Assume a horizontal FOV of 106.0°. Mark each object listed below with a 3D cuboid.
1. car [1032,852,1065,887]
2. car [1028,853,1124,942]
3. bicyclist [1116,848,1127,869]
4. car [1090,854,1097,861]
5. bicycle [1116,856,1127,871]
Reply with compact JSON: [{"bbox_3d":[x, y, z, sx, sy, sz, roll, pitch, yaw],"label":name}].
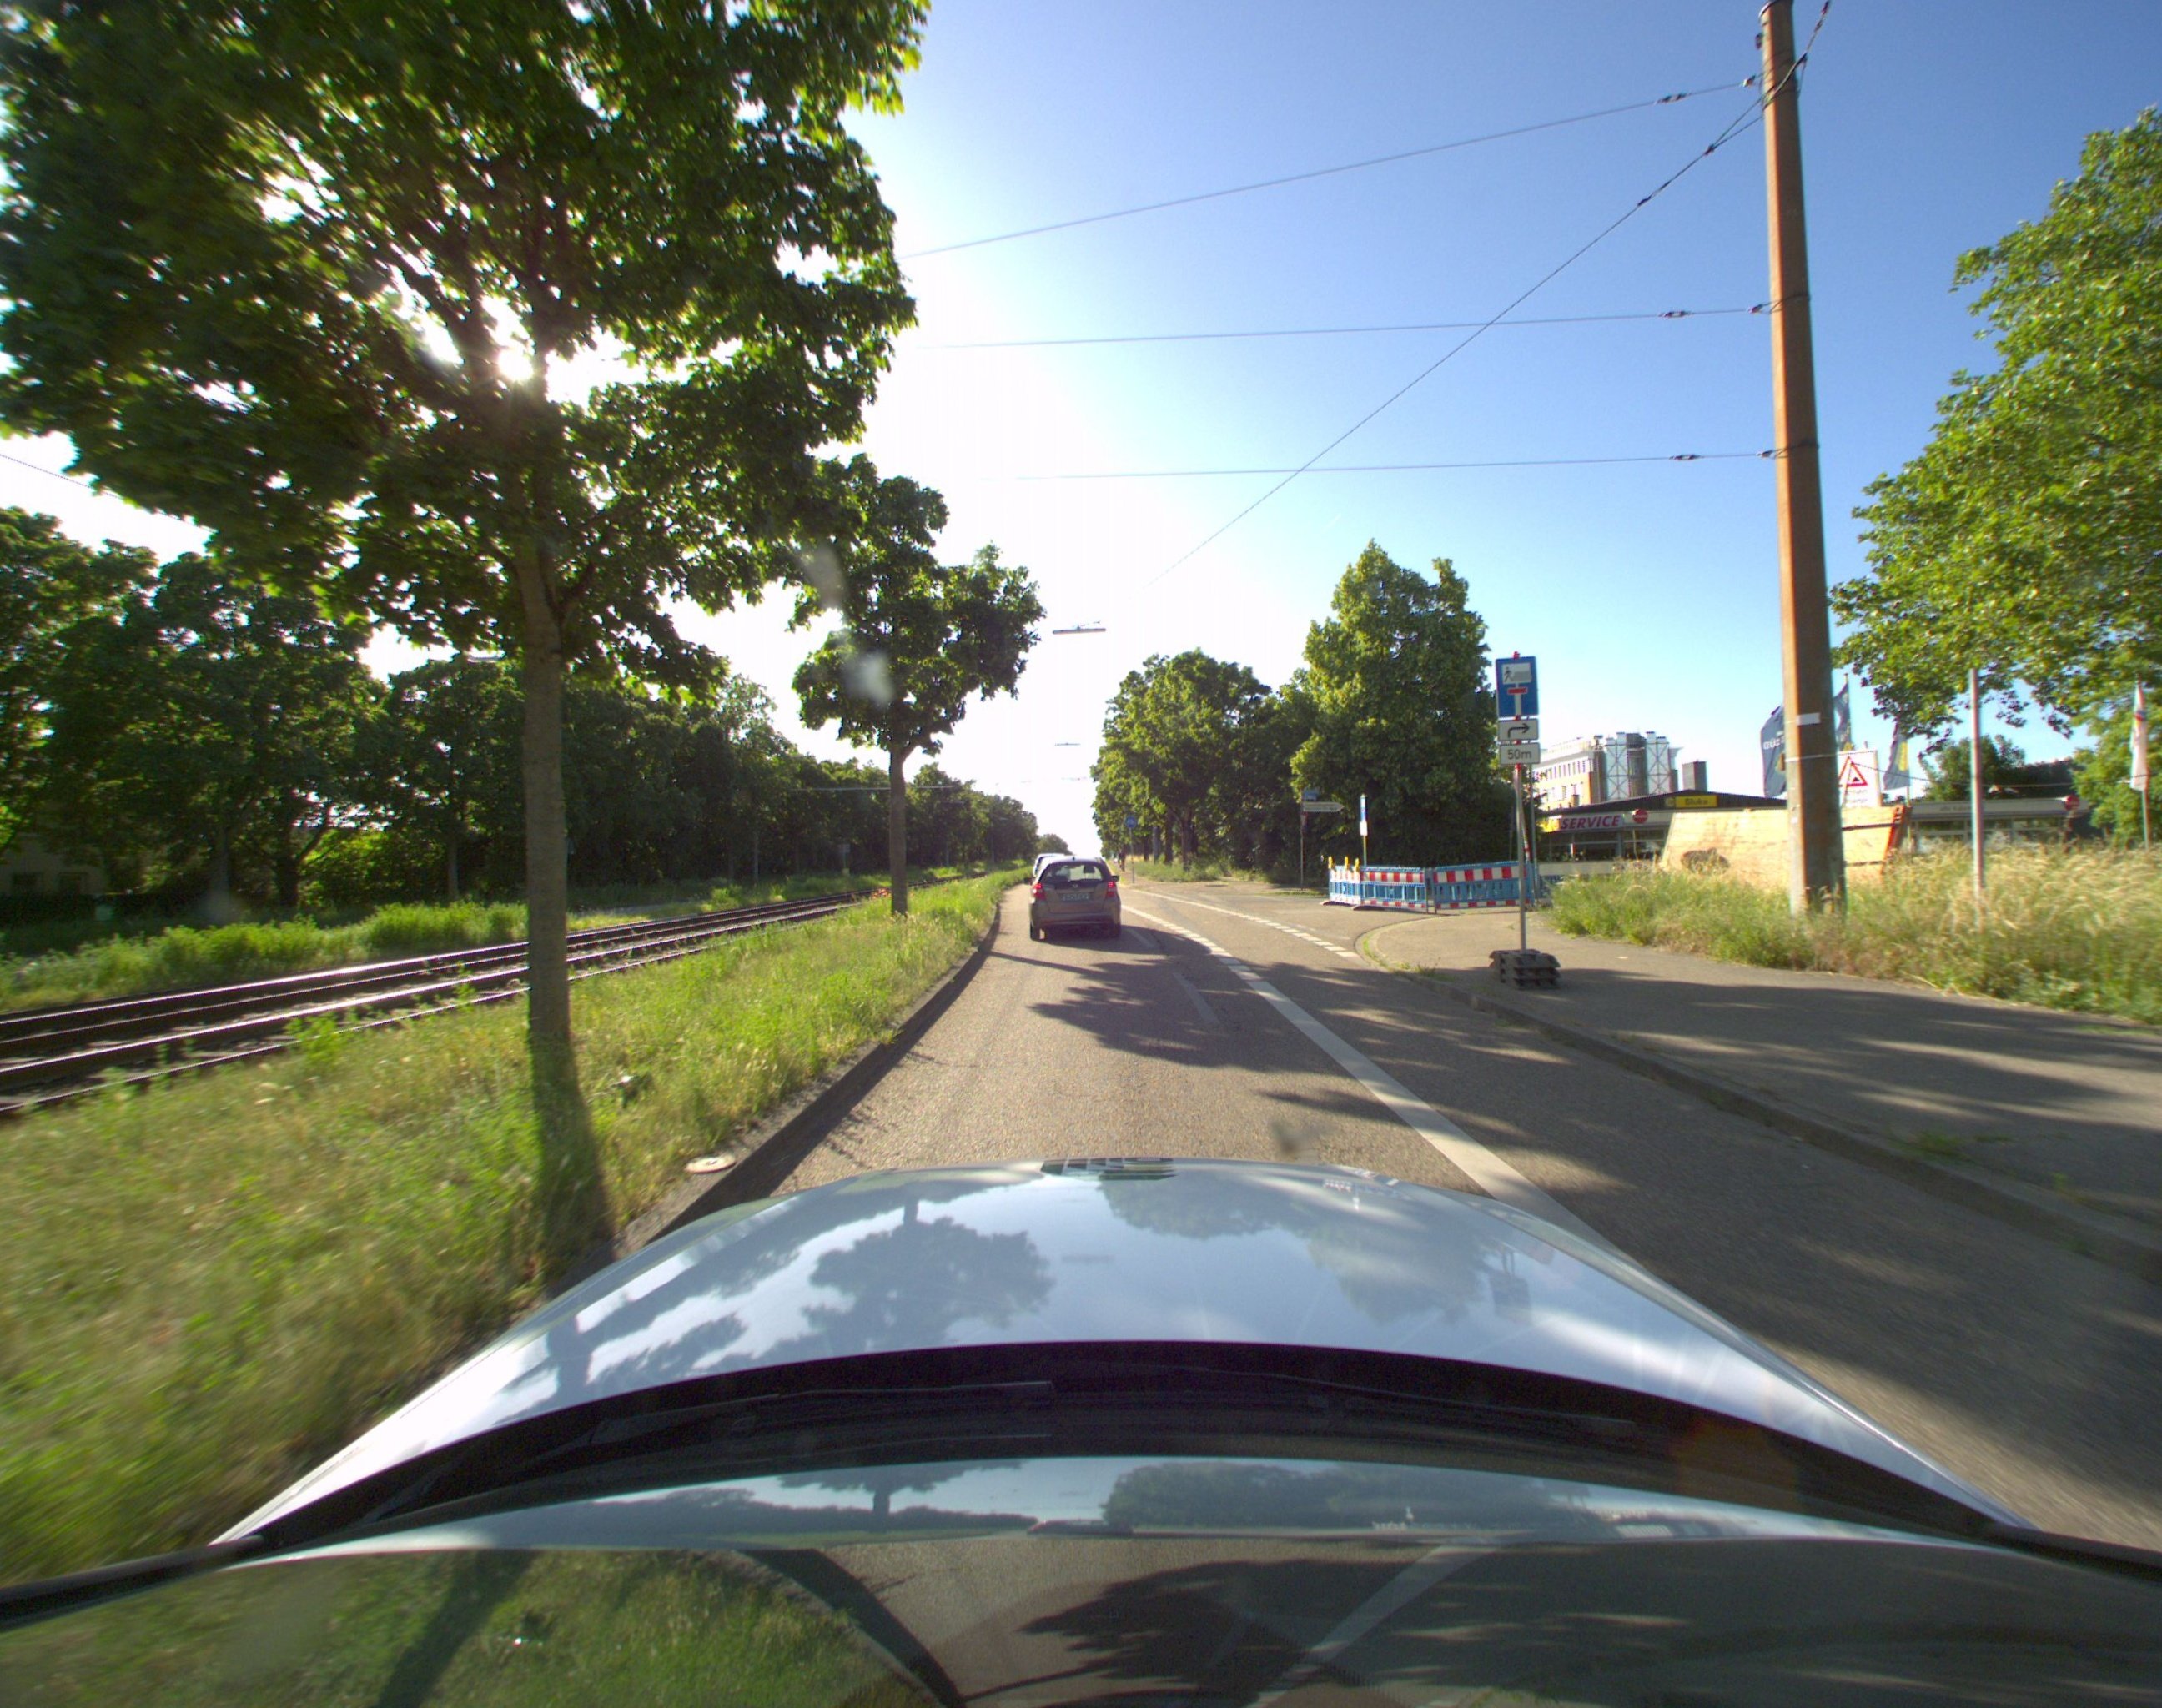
[{"bbox_3d":[-1.539,0.715,37.941,1.349,1.528,3.117,-2,-1,-5],"label":"car"},{"bbox_3d":[-0.148,0.760,16.065,1.666,1.515,3.671,0,0,-2],"label":"car"},{"bbox_3d":[2.967,0.340,59.907,0.814,1.524,0.966,-1,-2,2],"label":"bicyclist"},{"bbox_3d":[3.931,1.212,253.836,1.986,2.013,4.002,-6,-1,2],"label":"car"},{"bbox_3d":[2.961,0.702,59.876,0.814,1.048,2.507,-1,-2,3],"label":"bicycle"}]
